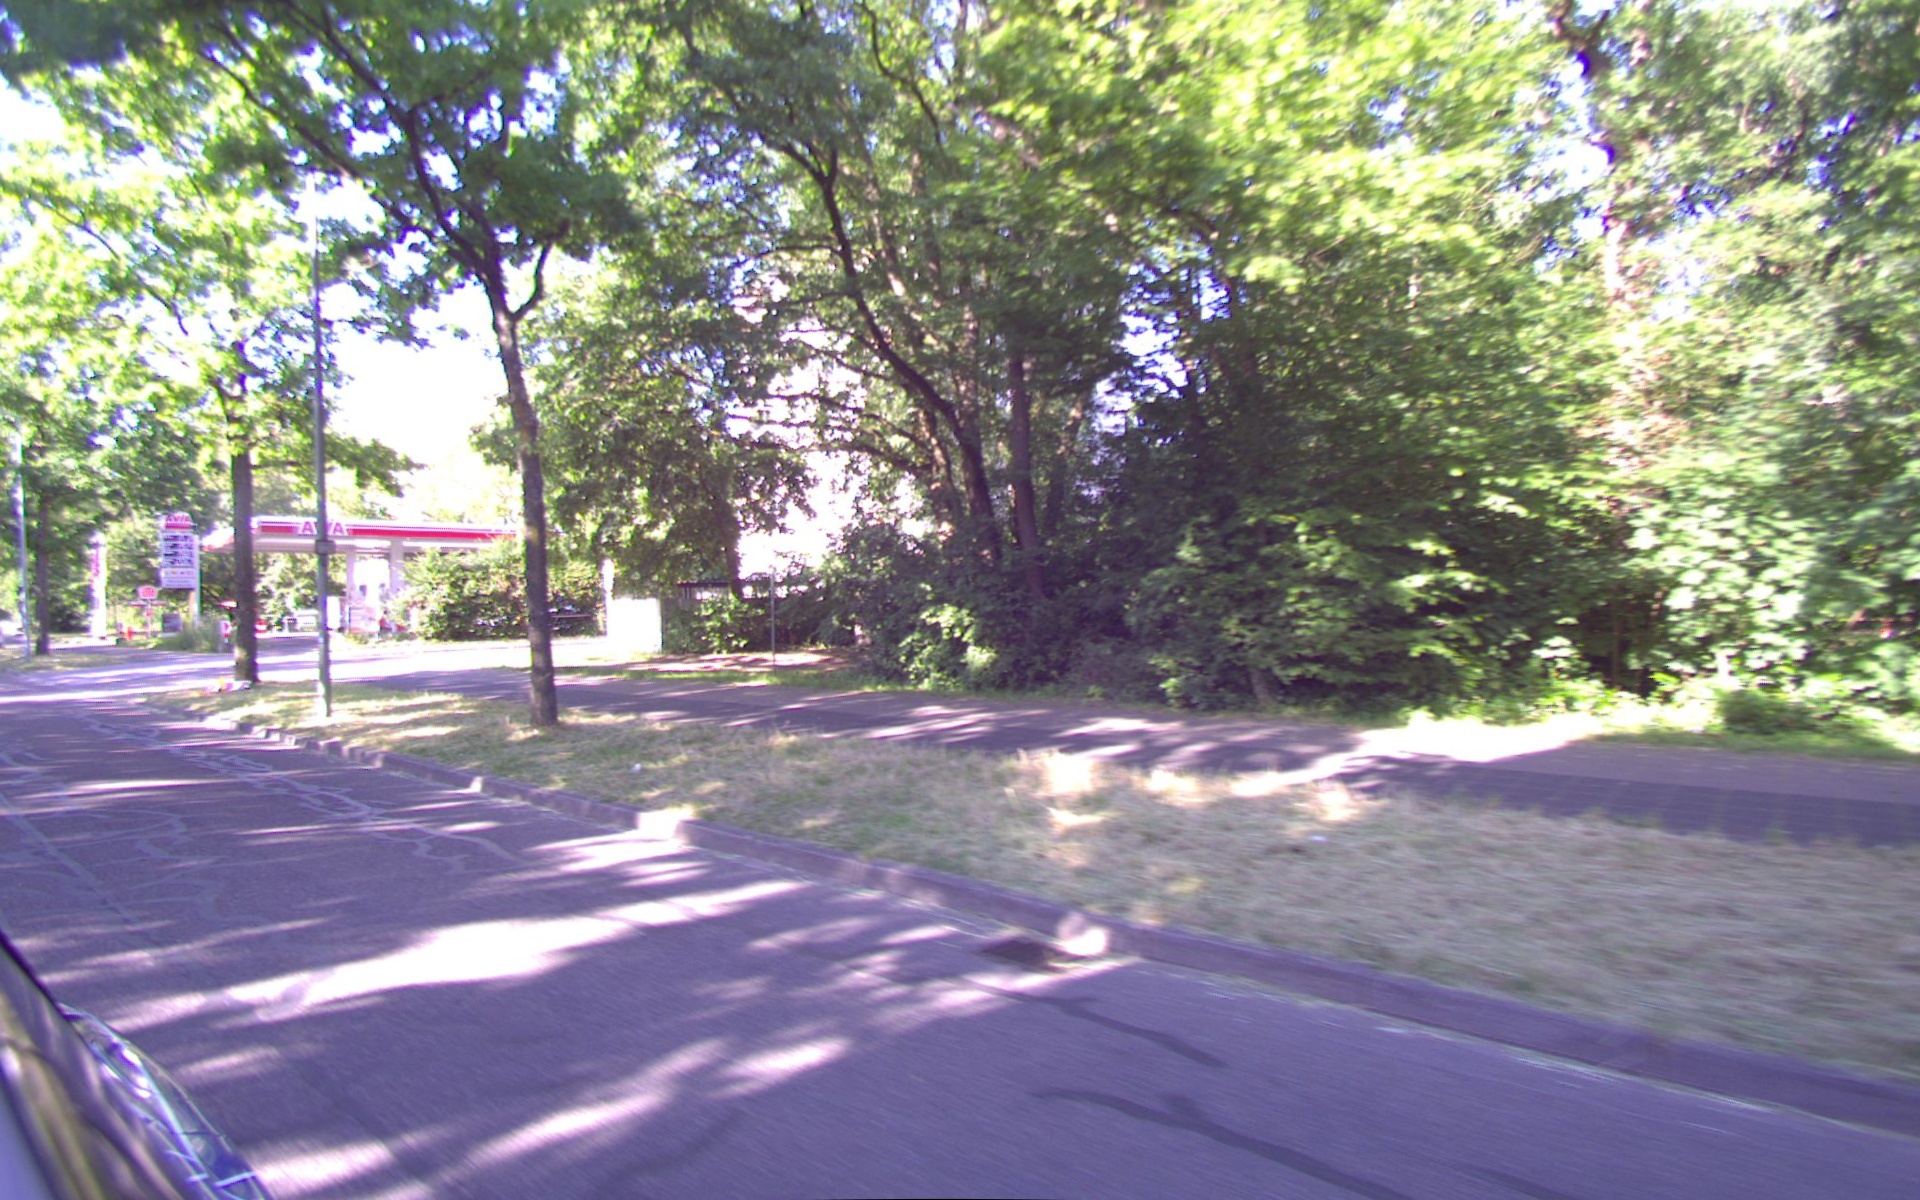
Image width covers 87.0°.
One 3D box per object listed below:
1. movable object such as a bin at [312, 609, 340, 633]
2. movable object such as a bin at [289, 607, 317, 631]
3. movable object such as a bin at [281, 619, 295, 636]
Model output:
[{"bbox_3d":[-43.016,1.408,68.689,1.163,1.553,1.291,-1,1,41],"label":"movable object such as a bin"},{"bbox_3d":[-43.892,1.286,67.594,1.267,1.553,1.290,-1,0,41],"label":"movable object such as a bin"},{"bbox_3d":[-44.498,1.837,67.030,0.768,1.094,0.562,-1,0,41],"label":"movable object such as a bin"}]
